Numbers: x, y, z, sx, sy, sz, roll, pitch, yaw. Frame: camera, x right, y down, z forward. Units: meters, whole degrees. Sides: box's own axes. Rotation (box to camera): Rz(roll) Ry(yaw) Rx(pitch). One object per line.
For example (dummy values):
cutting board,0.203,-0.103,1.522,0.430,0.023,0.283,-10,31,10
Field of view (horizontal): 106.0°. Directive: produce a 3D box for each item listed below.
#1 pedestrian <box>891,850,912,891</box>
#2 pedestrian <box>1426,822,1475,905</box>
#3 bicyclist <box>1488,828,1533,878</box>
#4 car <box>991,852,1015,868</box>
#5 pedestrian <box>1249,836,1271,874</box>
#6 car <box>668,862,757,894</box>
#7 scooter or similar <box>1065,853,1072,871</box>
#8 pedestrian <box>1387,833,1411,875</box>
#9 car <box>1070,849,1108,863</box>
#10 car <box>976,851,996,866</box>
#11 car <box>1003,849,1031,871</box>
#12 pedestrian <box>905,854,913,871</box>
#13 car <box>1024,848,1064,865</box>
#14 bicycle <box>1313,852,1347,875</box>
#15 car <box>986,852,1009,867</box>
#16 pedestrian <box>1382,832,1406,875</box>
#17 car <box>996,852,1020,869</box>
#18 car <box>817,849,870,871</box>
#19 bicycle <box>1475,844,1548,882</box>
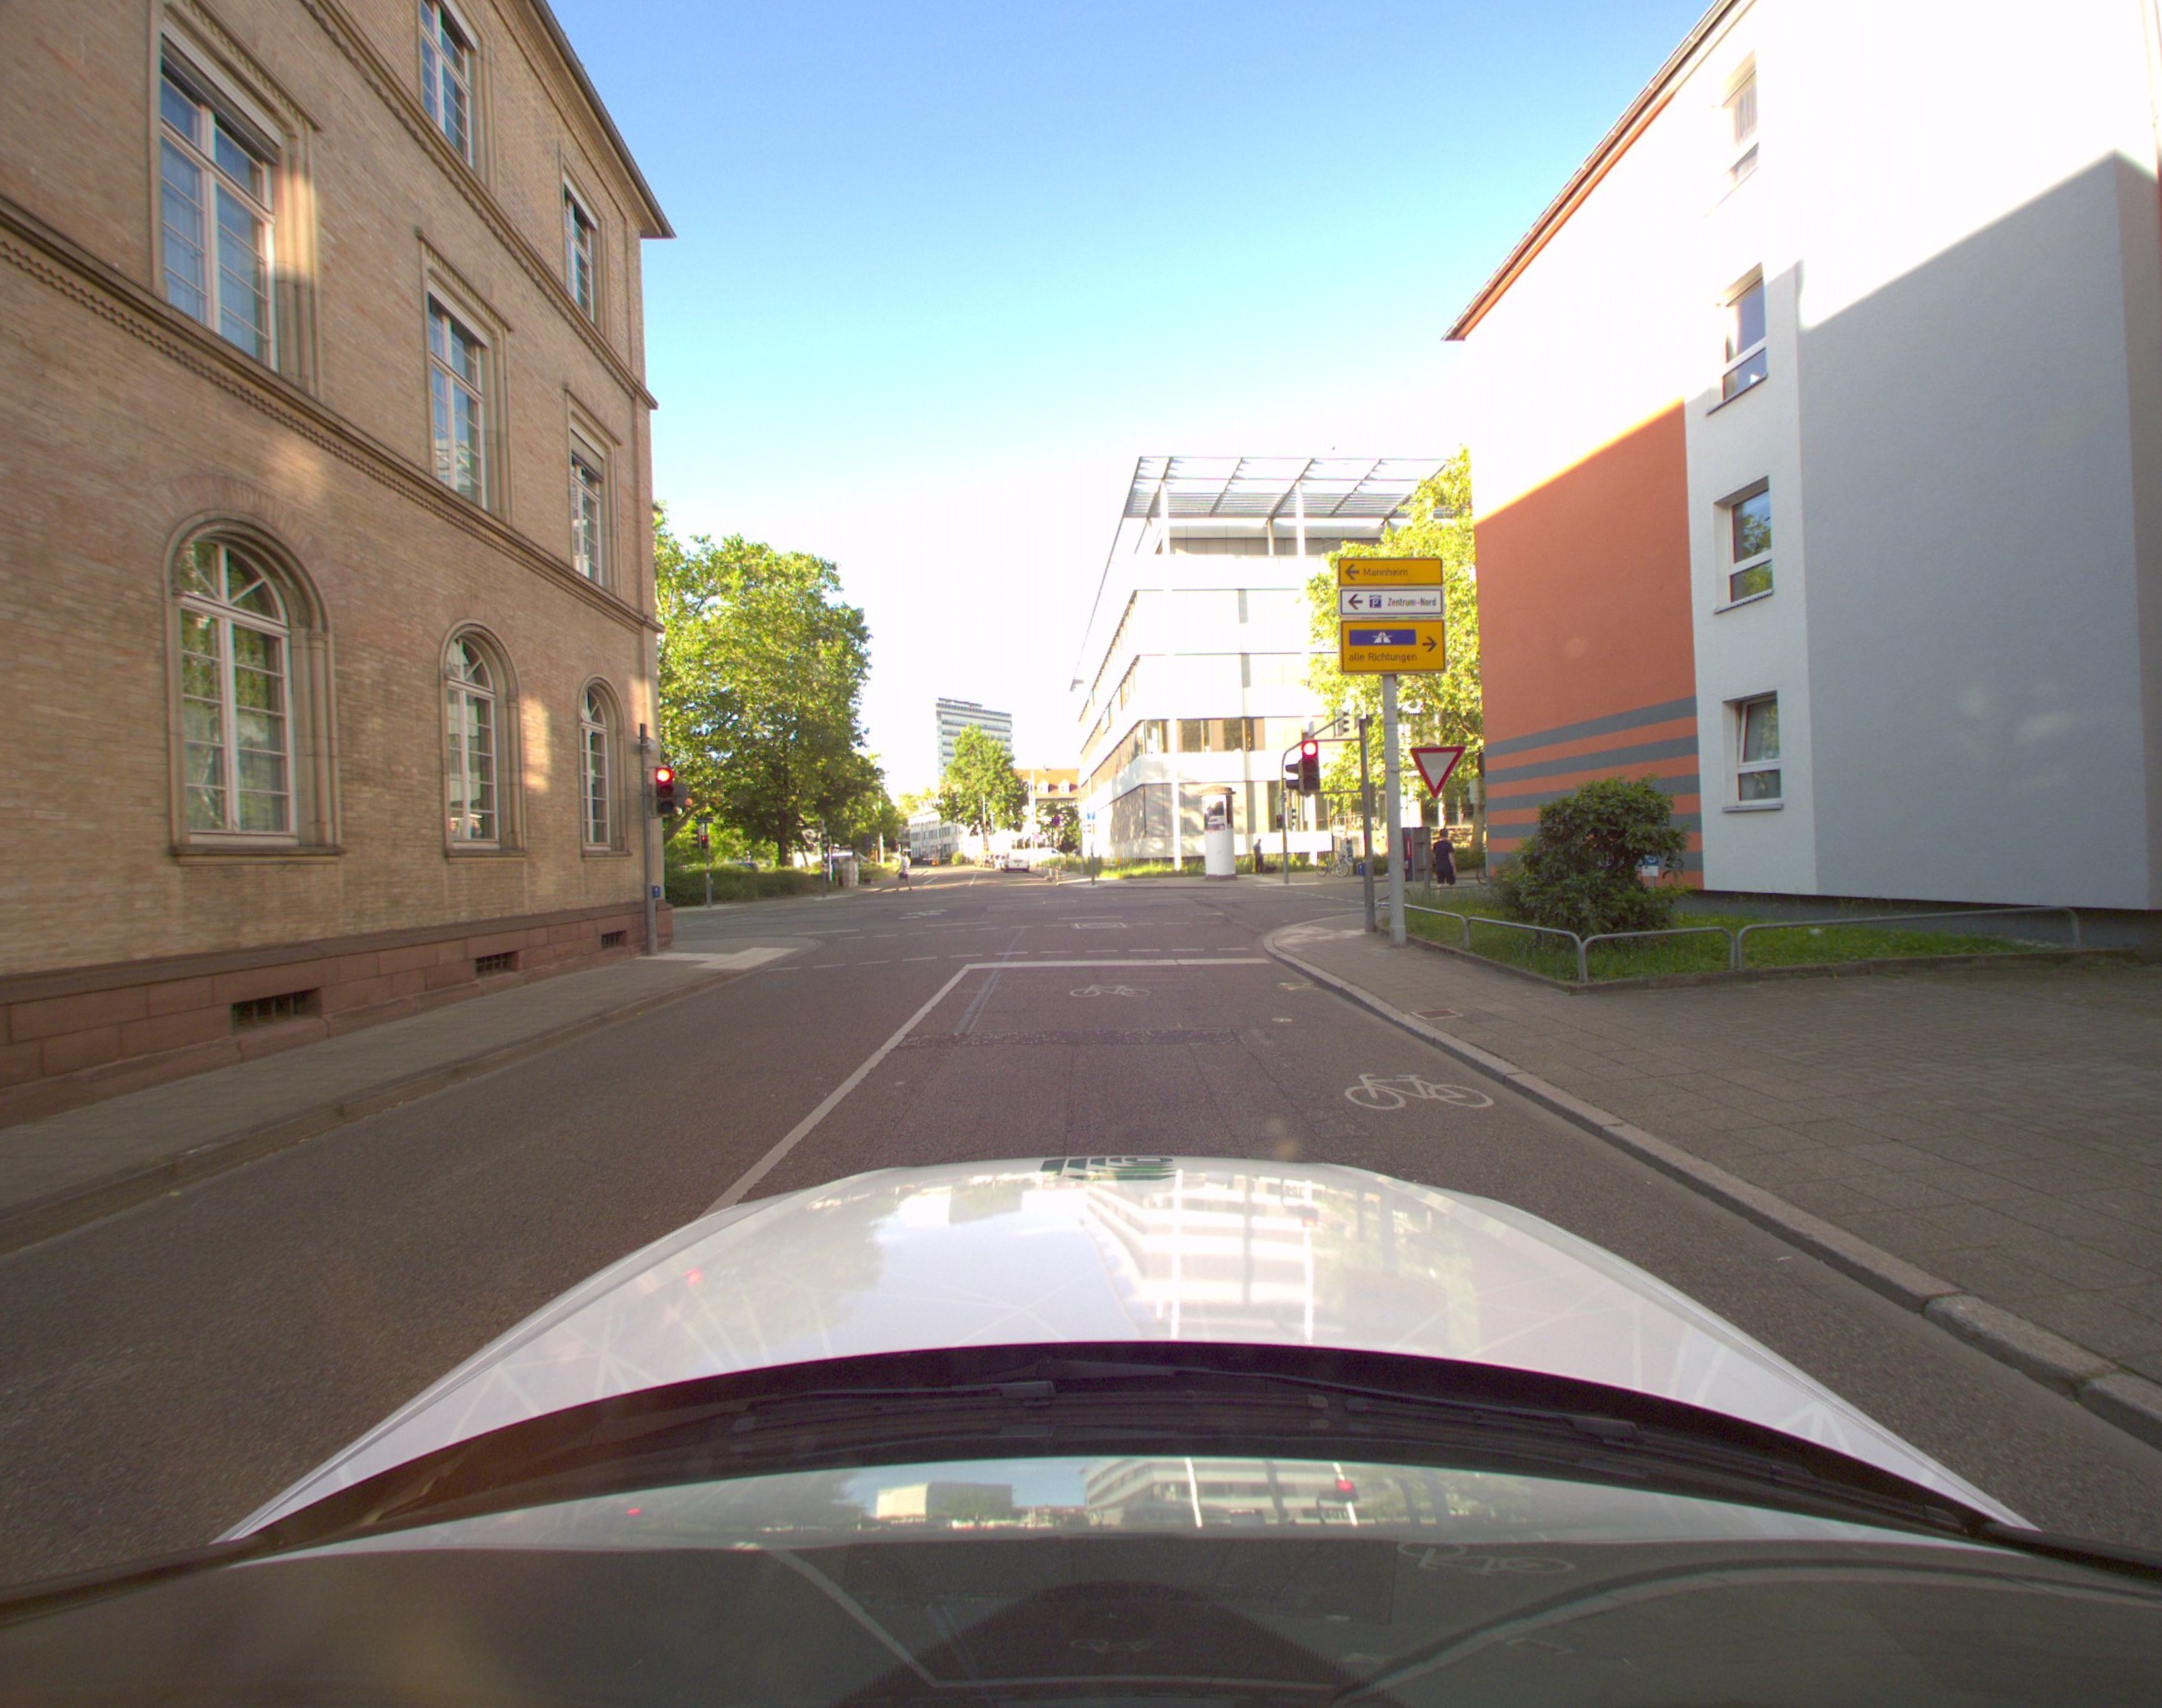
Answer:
pedestrian,-8.350,0.746,37.914,0.913,1.869,0.740,0,-1,-8
pedestrian,8.234,0.213,18.162,0.722,1.810,0.695,0,-1,-32
bicyclist,13.773,-0.035,26.133,1.069,1.527,0.593,-2,0,7
car,-7.840,0.595,81.602,1.994,1.499,4.270,0,-1,-11
pedestrian,8.524,0.057,38.900,0.910,1.815,0.763,0,-1,3
car,-17.082,1.095,37.878,3.407,1.457,1.646,0,-1,-8
scooter or similar,-0.912,0.589,58.451,0.436,1.256,1.418,-2,0,-2
pedestrian,13.126,-0.009,33.598,0.761,1.719,0.648,0,-1,4
car,1.026,0.271,104.931,4.644,1.725,1.990,0,-1,-15
car,-11.298,0.550,96.279,1.995,1.725,4.633,0,-1,-11
car,-5.170,0.476,65.094,1.992,1.725,4.640,0,-1,-7
pedestrian,-17.047,0.844,80.643,0.700,1.587,0.633,0,-1,-14
car,-4.680,0.287,103.225,4.802,2.159,1.989,0,-1,-16
bicycle,11.007,0.430,36.002,0.381,1.008,1.416,-2,0,-40
car,-8.881,0.602,86.355,1.994,1.499,4.635,0,-1,-10
pedestrian,13.176,-0.021,34.301,0.761,1.795,0.648,0,-1,4
car,-6.918,0.618,77.128,1.993,1.499,4.638,0,-1,-8
car,-22.022,0.536,75.745,4.441,2.014,1.995,0,-1,-8
bicycle,13.792,0.280,26.124,1.953,1.152,0.593,-2,0,7
